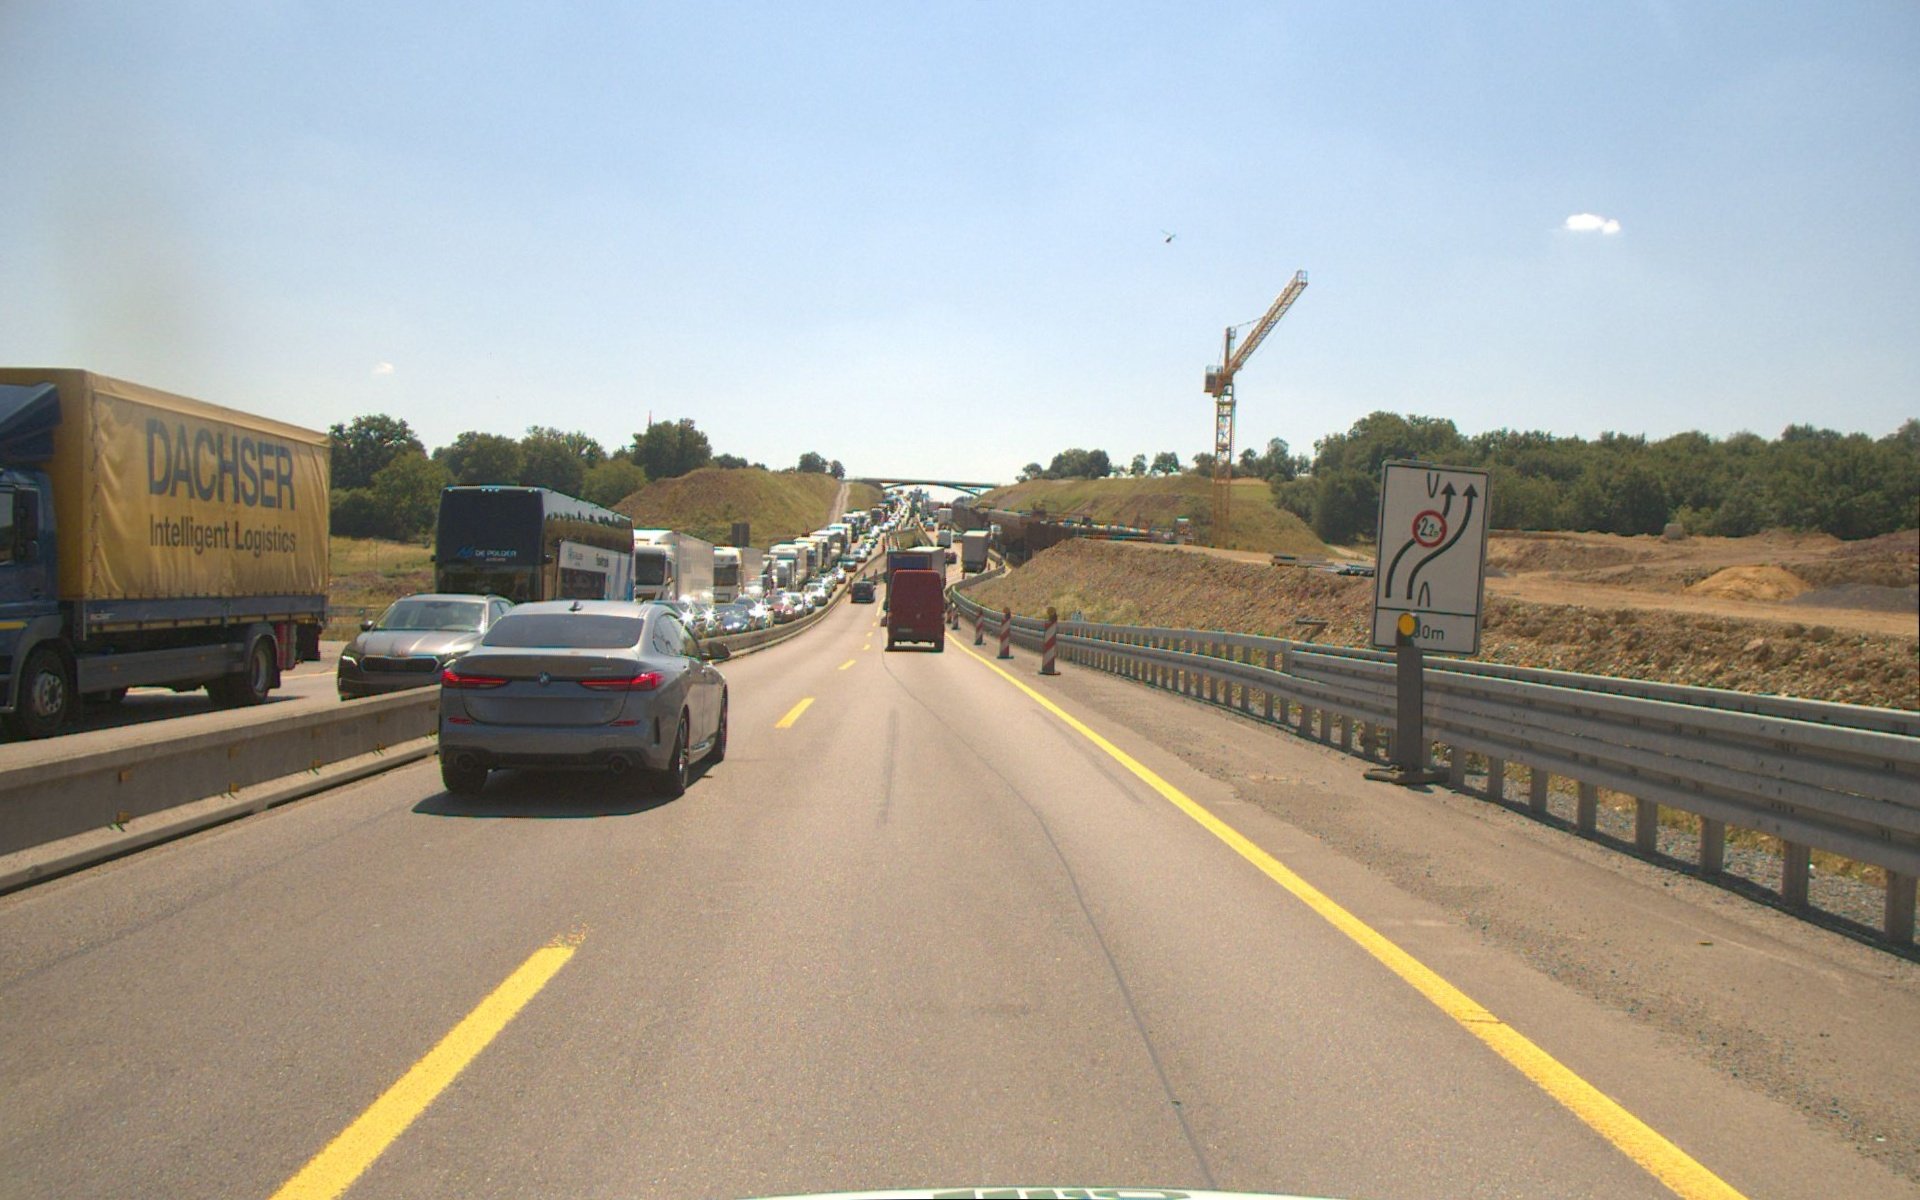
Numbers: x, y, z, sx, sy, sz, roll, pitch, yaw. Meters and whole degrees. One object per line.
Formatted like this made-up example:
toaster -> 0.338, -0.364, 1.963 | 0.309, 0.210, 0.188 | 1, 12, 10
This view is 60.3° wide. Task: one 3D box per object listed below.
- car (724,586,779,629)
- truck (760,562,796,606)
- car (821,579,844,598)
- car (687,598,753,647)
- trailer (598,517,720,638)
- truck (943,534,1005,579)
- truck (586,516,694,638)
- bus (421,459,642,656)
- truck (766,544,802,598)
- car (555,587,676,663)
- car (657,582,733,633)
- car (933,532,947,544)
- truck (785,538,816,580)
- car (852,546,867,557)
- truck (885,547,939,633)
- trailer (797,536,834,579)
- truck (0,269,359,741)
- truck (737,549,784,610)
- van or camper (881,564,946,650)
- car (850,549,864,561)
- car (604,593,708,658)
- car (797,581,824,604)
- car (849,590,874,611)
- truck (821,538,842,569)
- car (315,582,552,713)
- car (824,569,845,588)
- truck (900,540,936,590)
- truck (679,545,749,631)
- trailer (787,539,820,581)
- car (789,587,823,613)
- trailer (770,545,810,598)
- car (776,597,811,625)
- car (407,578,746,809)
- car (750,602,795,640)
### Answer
car -> -8.677, 0.283, 69.223 | 1.954, 1.648, 4.879 | 0, 1, -3
truck -> -13.915, -1.278, 126.595 | 2.385, 3.203, 7.019 | 0, 2, -4
car -> -10.732, -0.967, 139.793 | 1.790, 1.562, 4.544 | -1, 1, -3
car -> -8.323, 0.746, 57.600 | 1.776, 1.462, 5.118 | 2, 1, -3
trailer -> -12.260, -0.895, 68.758 | 3.078, 4.460, 14.070 | 1, 0, -3
truck -> 1.814, -5.178, 198.008 | 5.050, 5.084, 13.889 | -1, 1, 10
truck -> -11.900, -0.856, 62.120 | 3.035, 4.271, 6.698 | 1, 1, -3
bus -> -10.919, -0.929, 44.015 | 2.684, 4.338, 14.468 | 1, 0, -3
truck -> -14.410, -2.395, 135.782 | 2.499, 4.304, 6.528 | 1, 2, -2
car -> -7.454, 0.490, 36.262 | 1.801, 1.469, 4.928 | 1, 1, -3
car -> -8.044, 0.219, 50.569 | 1.796, 1.448, 4.680 | 1, 0, -3
car -> -3.054, -9.509, 253.547 | 1.913, 1.669, 4.265 | 2, 0, -2
truck -> -15.486, -3.930, 161.061 | 2.727, 3.937, 5.457 | 1, 0, -4
car -> -13.742, -6.631, 226.231 | 1.913, 1.556, 4.266 | 1, 1, -2
truck -> -2.827, -0.650, 96.001 | 2.960, 4.774, 6.929 | -1, 1, -3
trailer -> -16.228, -4.769, 186.302 | 2.980, 4.631, 12.128 | 1, 1, 0
truck -> -10.142, -0.817, 19.489 | 2.746, 4.225, 10.074 | 1, -1, -2
truck -> -13.408, -1.412, 111.464 | 2.474, 3.923, 8.666 | 1, 1, -3
van or camper -> -1.635, 0.198, 56.882 | 1.989, 2.792, 4.512 | 1, 1, -4
car -> -12.873, -5.675, 207.018 | 1.712, 1.433, 3.999 | 1, 1, -2
car -> -7.658, 0.604, 42.078 | 1.880, 1.448, 5.088 | 2, 1, -3
car -> -11.262, -0.549, 124.523 | 1.790, 1.680, 4.544 | 2, 0, -3
car -> -7.799, 0.013, 130.960 | 1.972, 1.572, 4.130 | 1, 1, -4
truck -> -16.421, -5.920, 211.610 | 2.630, 3.906, 7.381 | 1, 1, -4
car -> -6.832, 0.548, 22.021 | 1.822, 1.520, 4.901 | -1, 0, -4
car -> -12.477, -2.128, 164.676 | 1.954, 1.814, 3.997 | -1, 1, -4
truck -> -3.767, -3.038, 146.676 | 2.977, 4.172, 7.081 | 1, 0, -3
truck -> -12.672, -0.634, 85.622 | 2.917, 4.258, 5.872 | 1, 0, -2
trailer -> -15.758, -3.959, 167.261 | 2.727, 4.000, 11.003 | 1, 0, -3
car -> -9.994, -0.002, 107.694 | 1.953, 1.584, 4.337 | -1, 1, -2
trailer -> -14.723, -2.490, 143.629 | 2.542, 4.331, 12.464 | 1, 1, -2
car -> -9.680, 0.664, 96.413 | 1.790, 1.601, 3.997 | 1, -1, -3
car -> -2.918, 0.609, 13.627 | 1.814, 1.477, 4.741 | 2, 1, -2
car -> -9.539, 1.040, 84.590 | 1.954, 1.659, 4.755 | 2, 1, -3
